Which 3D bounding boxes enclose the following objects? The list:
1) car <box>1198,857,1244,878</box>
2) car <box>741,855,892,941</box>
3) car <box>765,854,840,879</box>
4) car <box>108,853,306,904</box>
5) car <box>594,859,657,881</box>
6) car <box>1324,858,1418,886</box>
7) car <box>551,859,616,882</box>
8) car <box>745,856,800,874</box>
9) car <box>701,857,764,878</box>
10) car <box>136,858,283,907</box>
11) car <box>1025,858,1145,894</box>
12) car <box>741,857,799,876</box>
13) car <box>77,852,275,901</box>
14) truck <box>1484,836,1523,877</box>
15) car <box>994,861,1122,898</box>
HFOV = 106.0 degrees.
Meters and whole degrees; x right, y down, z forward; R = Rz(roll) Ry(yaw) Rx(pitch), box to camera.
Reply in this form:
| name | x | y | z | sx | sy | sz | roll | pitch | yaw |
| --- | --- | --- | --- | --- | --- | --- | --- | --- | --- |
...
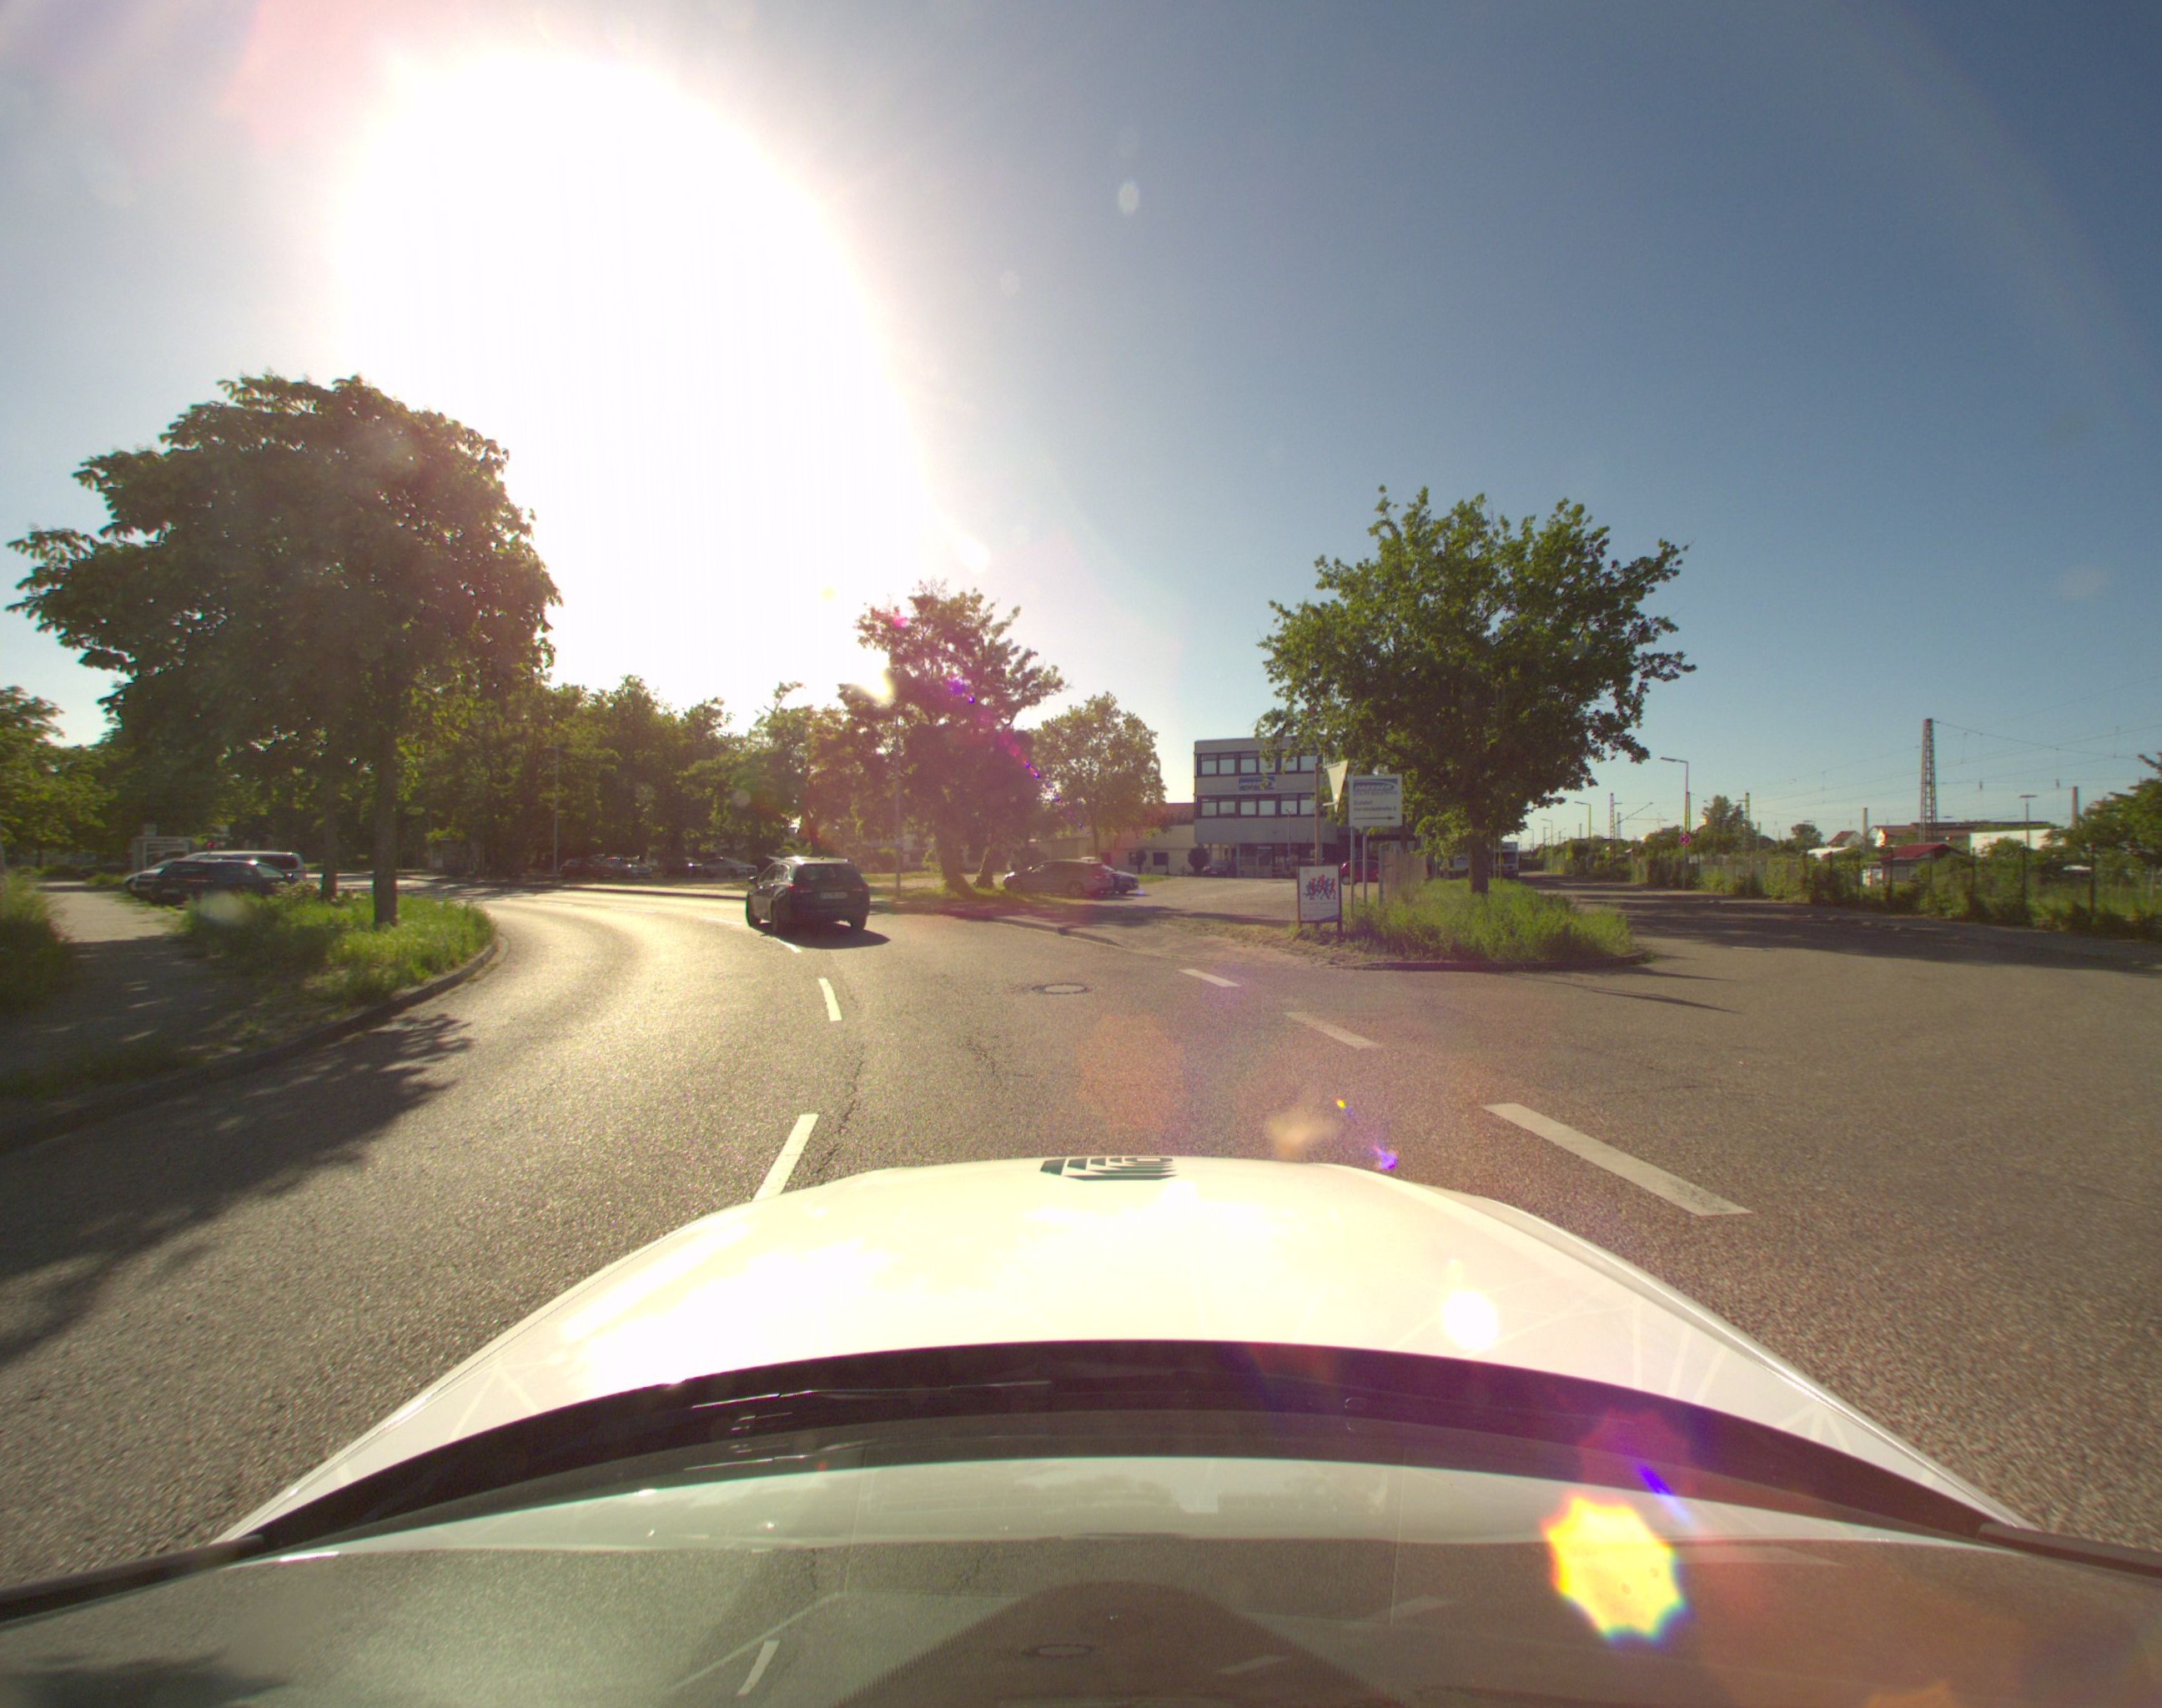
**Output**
| name | x | y | z | sx | sy | sz | roll | pitch | yaw |
| --- | --- | --- | --- | --- | --- | --- | --- | --- | --- |
| car | 10.874 | 1.005 | 62.995 | 1.975 | 1.484 | 4.957 | 0 | 1 | 28 |
| car | -5.684 | 0.803 | 17.106 | 1.956 | 1.488 | 4.519 | -1 | 1 | -32 |
| car | -17.541 | 0.744 | 51.228 | 4.863 | 1.484 | 2.013 | 0 | 0 | 36 |
| car | -30.240 | 0.788 | 28.412 | 1.823 | 1.610 | 4.415 | 0 | 0 | 9 |
| car | -32.208 | 1.092 | 57.537 | 4.863 | 1.484 | 2.013 | 0 | 0 | 36 |
| car | 16.853 | 1.012 | 47.315 | 4.864 | 1.484 | 2.013 | 0 | 1 | 30 |
| car | -33.560 | 1.060 | 54.903 | 4.863 | 1.484 | 2.013 | 0 | 0 | 36 |
| car | -26.257 | 0.931 | 69.320 | 4.863 | 1.484 | 2.013 | 0 | 0 | 36 |
| car | -25.283 | 0.966 | 59.013 | 4.863 | 1.484 | 2.013 | 0 | 0 | 36 |
| car | -27.727 | 0.842 | 26.104 | 1.845 | 1.436 | 4.364 | 0 | 0 | -28 |
| car | 0.178 | 0.940 | 35.892 | 4.866 | 1.484 | 2.011 | 0 | 0 | 25 |
| car | -25.035 | 0.960 | 65.531 | 4.863 | 1.484 | 2.013 | 0 | 0 | 36 |
| car | -32.294 | 0.744 | 29.278 | 1.823 | 1.610 | 4.416 | 0 | 0 | 10 |
| truck | 43.479 | 0.295 | 84.091 | 2.590 | 3.885 | 13.607 | 1 | 0 | 24 |
| car | -0.945 | 1.001 | 33.527 | 4.866 | 1.426 | 2.011 | 0 | 0 | 25 |
